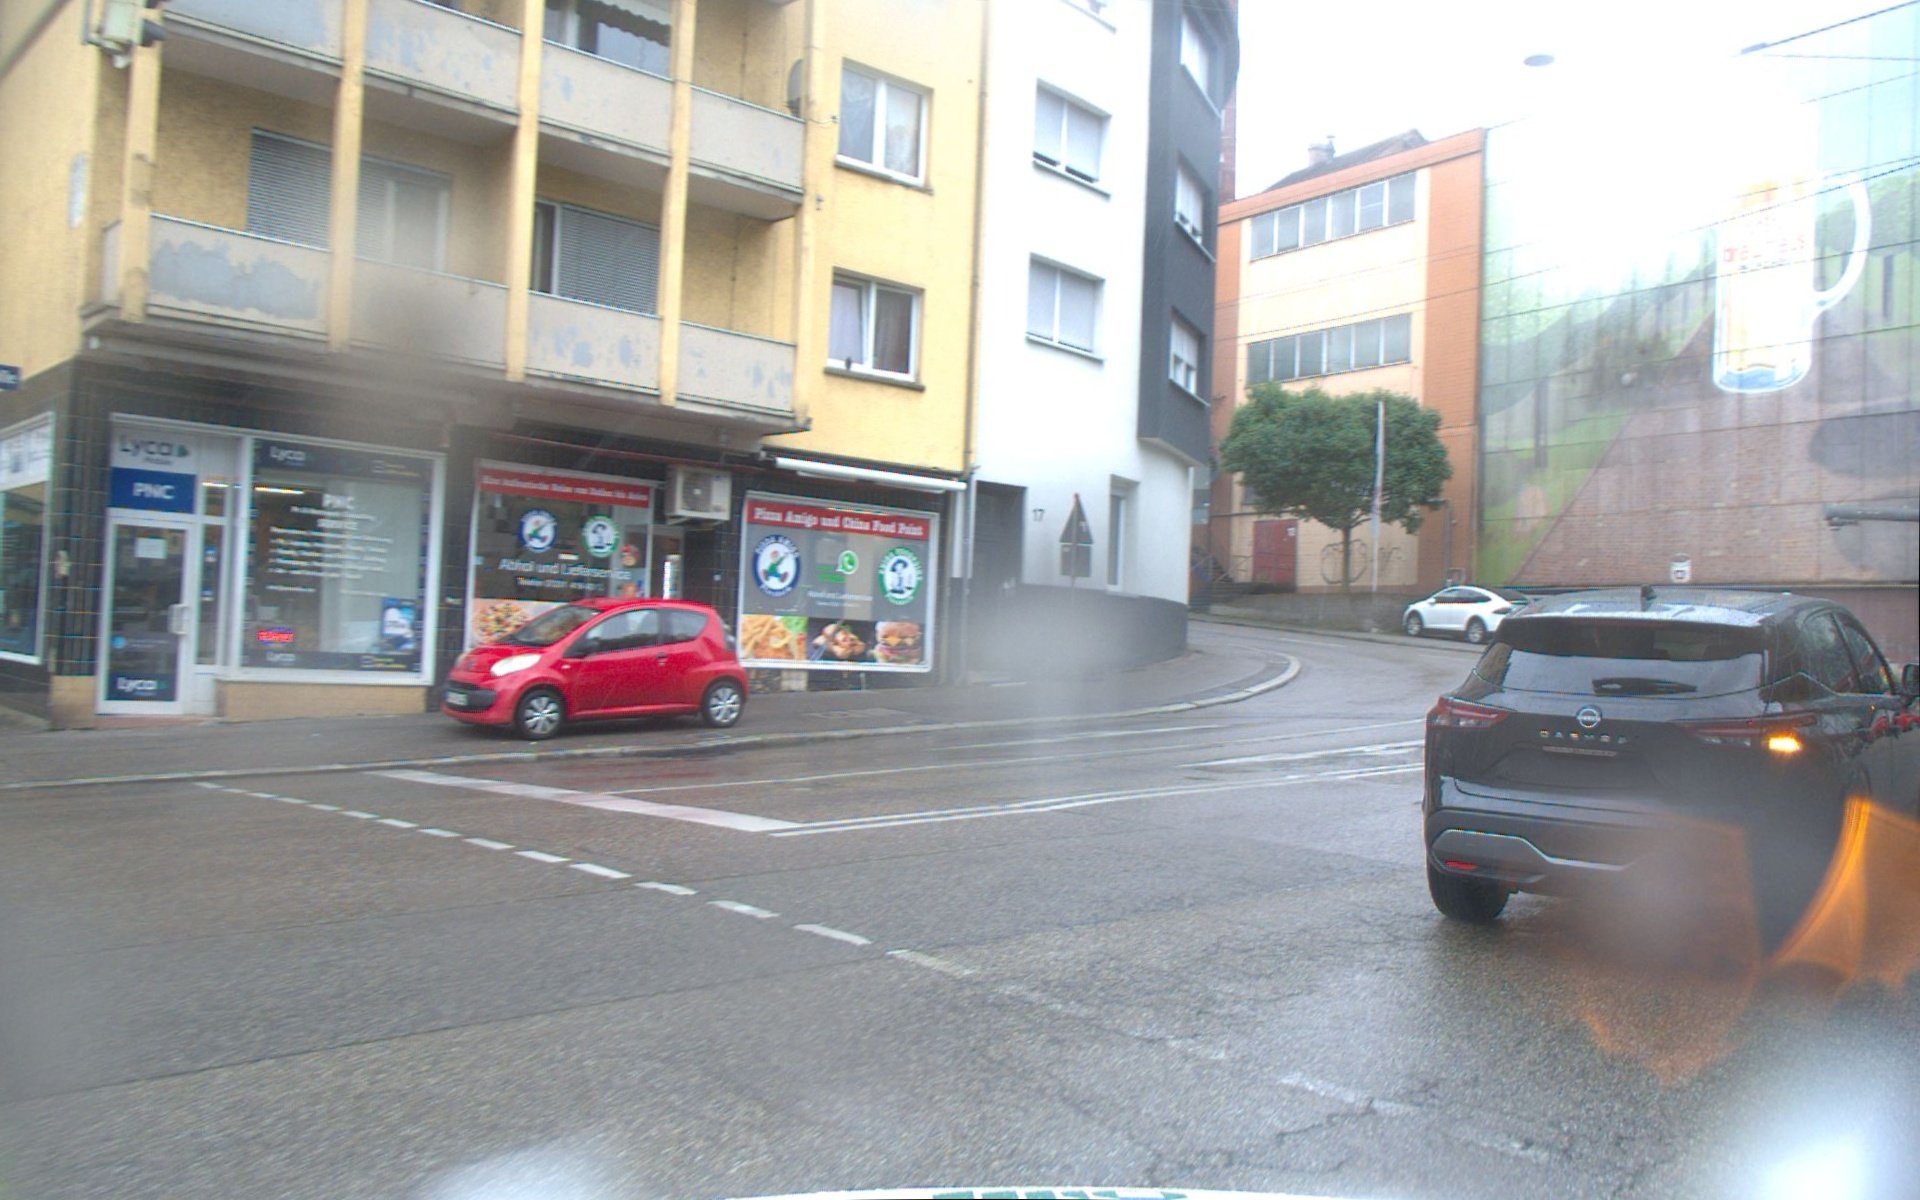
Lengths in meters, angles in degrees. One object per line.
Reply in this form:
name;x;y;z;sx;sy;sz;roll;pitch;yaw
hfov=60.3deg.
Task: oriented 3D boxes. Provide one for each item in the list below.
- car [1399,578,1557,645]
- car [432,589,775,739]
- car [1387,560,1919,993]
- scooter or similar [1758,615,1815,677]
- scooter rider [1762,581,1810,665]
car;15.716;0.314;50.459;1.827;1.645;4.884;3;2;-22
car;-4.014;0.656;18.869;3.502;1.489;1.591;0;2;-41
car;3.833;0.692;8.364;1.851;1.622;3.904;1;0;37
scooter or similar;18.612;1.024;37.274;0.785;1.346;1.410;0;-1;11
scooter rider;18.622;0.516;37.307;0.785;1.853;0.782;0;-1;11
